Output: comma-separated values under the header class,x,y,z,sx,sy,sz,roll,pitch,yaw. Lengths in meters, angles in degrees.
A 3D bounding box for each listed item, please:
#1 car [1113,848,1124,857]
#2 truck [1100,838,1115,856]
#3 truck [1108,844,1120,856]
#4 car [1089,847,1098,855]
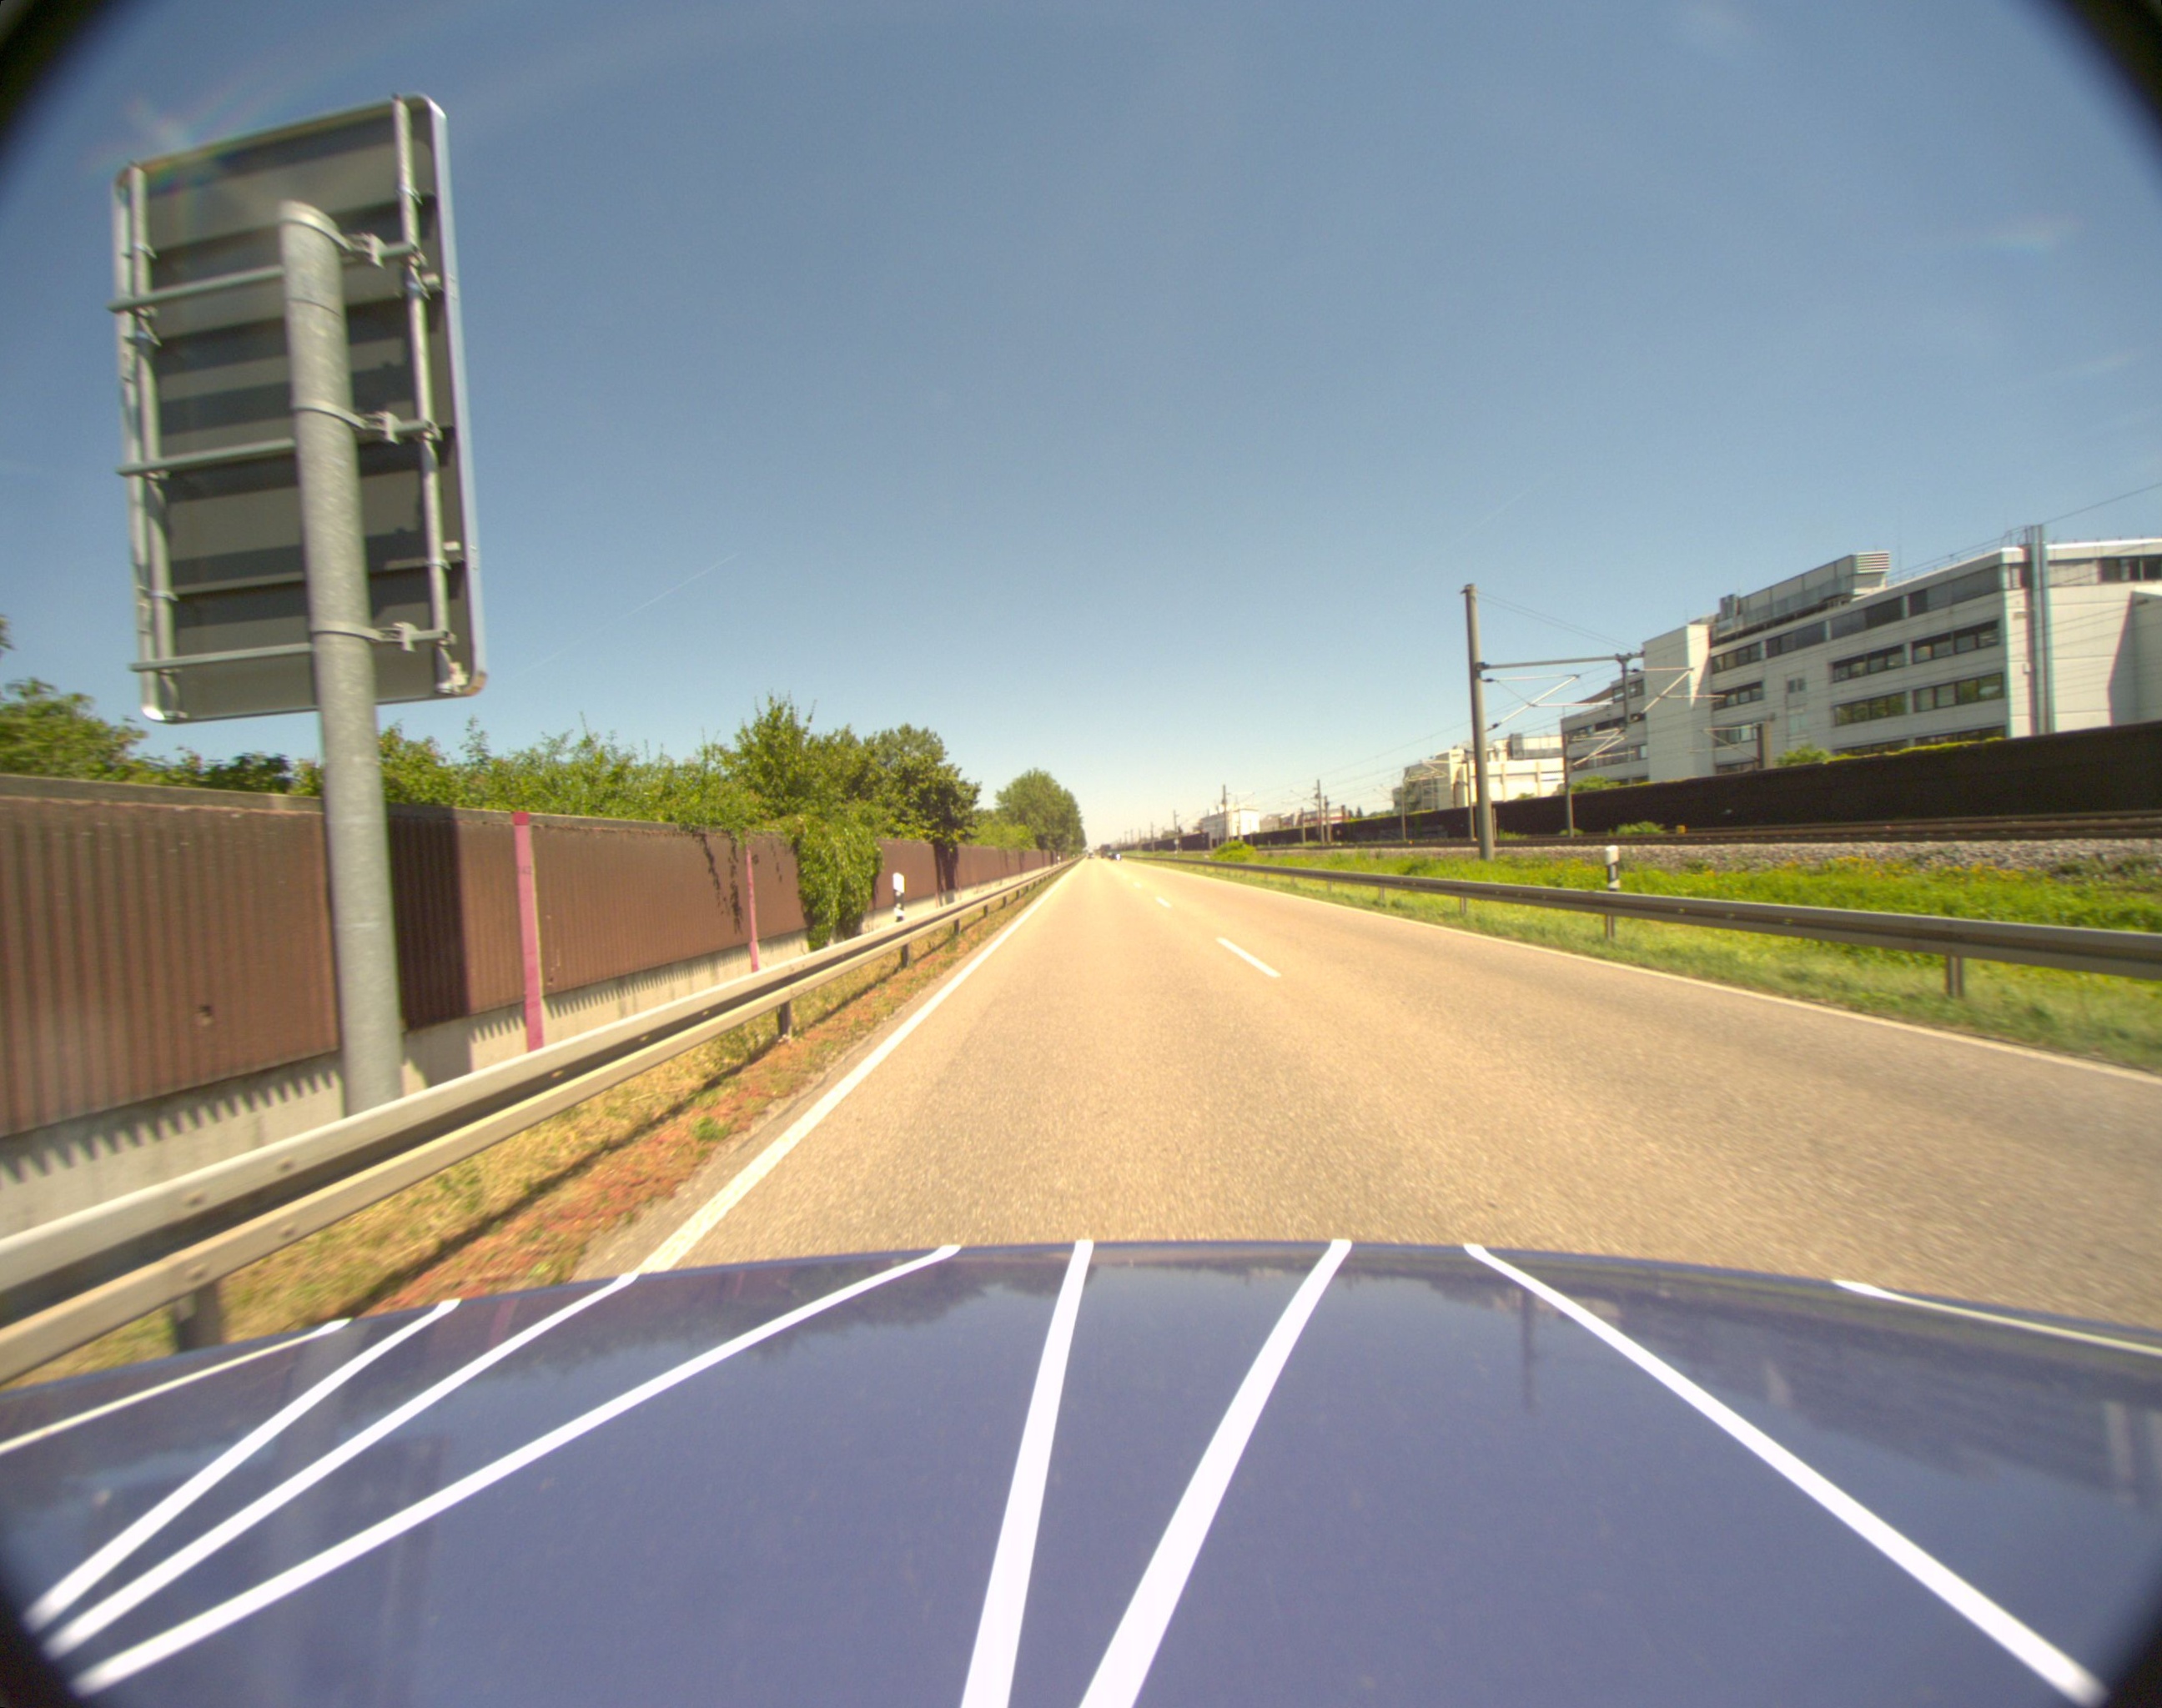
class,x,y,z,sx,sy,sz,roll,pitch,yaw
car,6.710,-0.298,136.737,1.803,1.455,4.000,-2,1,1
truck,6.907,-1.749,198.896,3.054,4.449,10.586,-2,1,-2
truck,7.112,-0.882,164.345,2.389,2.256,6.237,-2,1,1
car,3.187,-0.704,189.350,1.998,2.002,4.001,-2,1,4
